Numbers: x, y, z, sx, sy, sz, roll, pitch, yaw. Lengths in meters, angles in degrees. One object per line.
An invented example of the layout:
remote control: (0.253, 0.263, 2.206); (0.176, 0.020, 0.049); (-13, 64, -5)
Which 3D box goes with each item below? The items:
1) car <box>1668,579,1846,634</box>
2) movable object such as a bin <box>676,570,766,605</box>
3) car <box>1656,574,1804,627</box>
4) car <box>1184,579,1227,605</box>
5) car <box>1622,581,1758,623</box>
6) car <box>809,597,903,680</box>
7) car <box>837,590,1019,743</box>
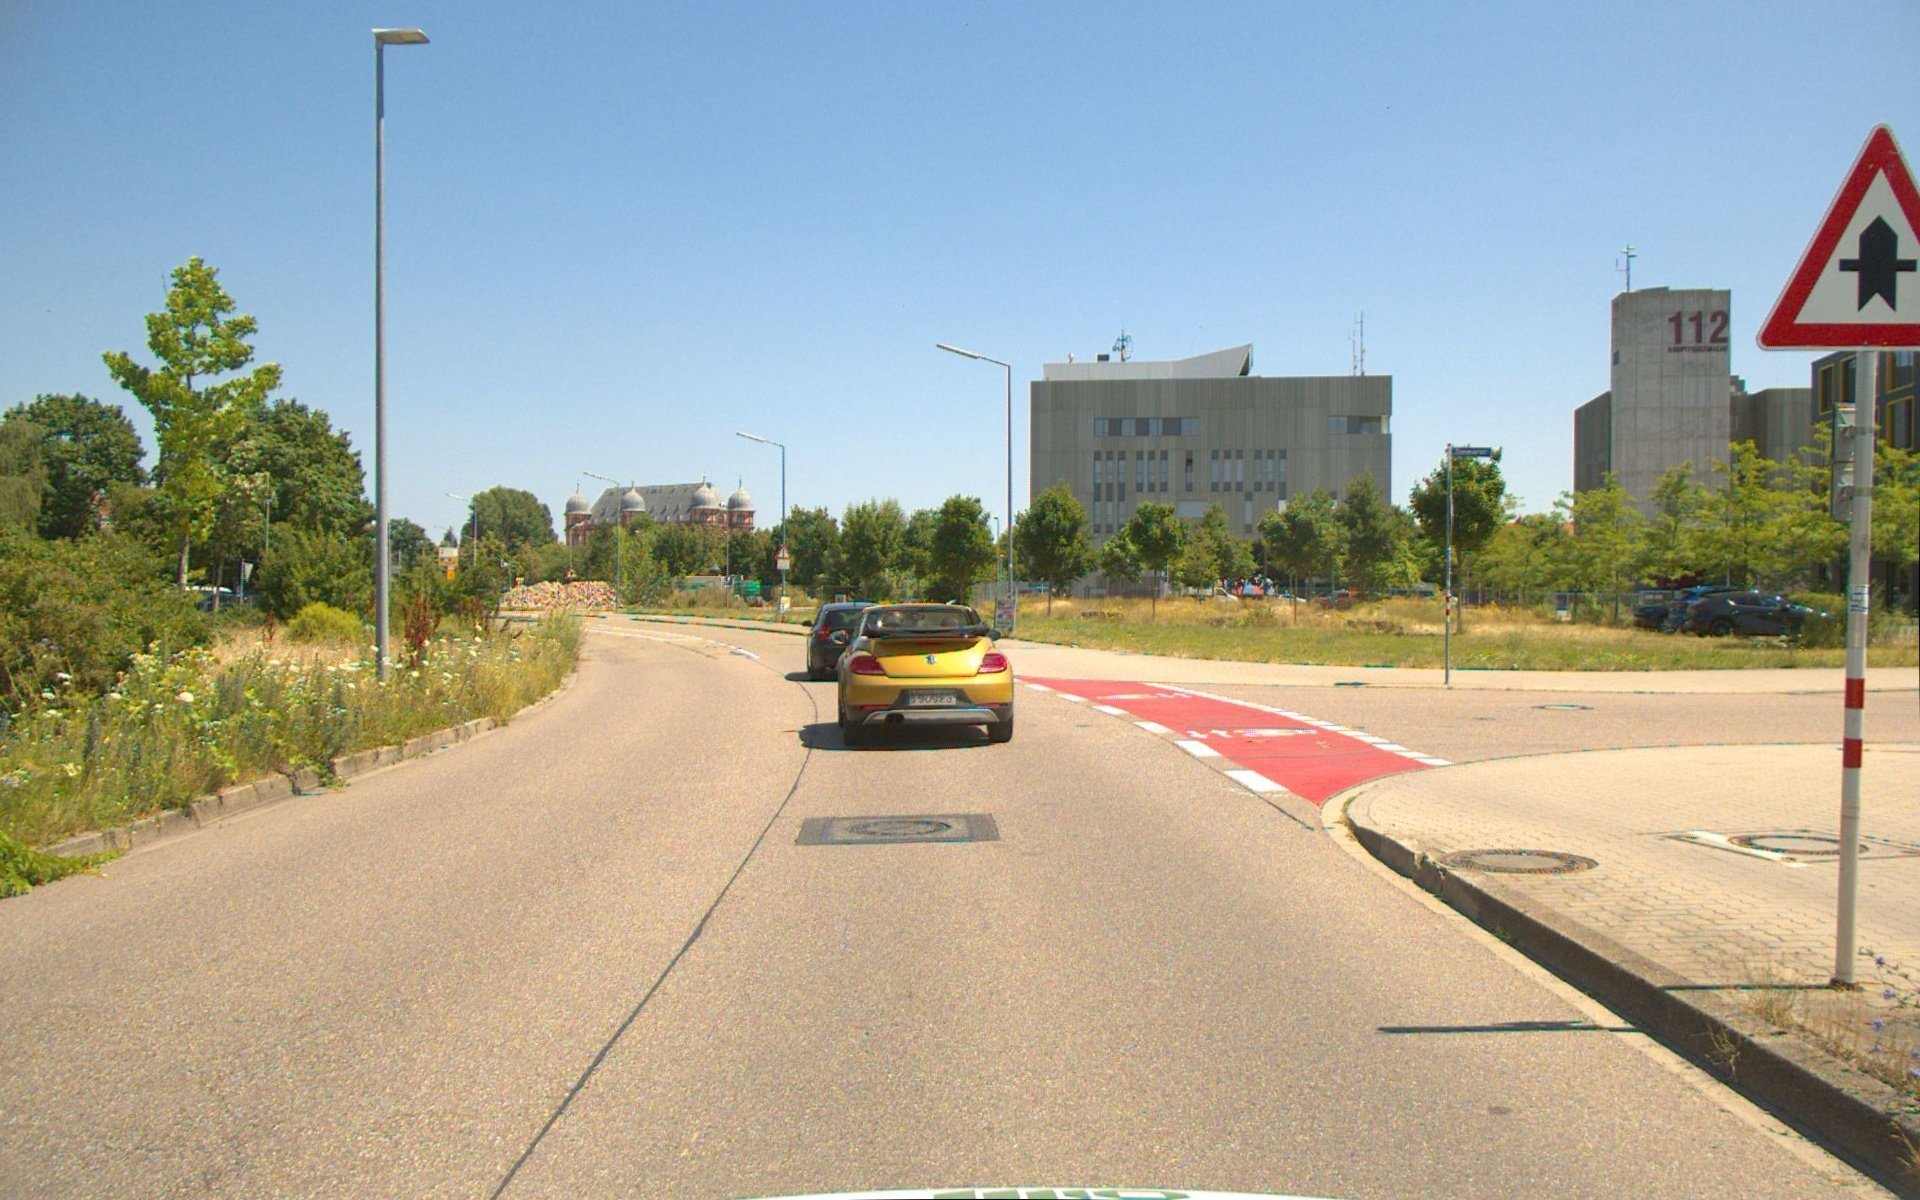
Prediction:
car: (23.741, 0.191, 49.405); (4.397, 1.589, 2.034); (0, 0, 8)
movable object such as a bin: (-23.550, -1.186, 162.413); (4.895, 3.317, 10.347); (0, 0, -33)
car: (25.038, 0.005, 53.899); (3.971, 1.680, 1.956); (0, 0, 9)
car: (21.989, -0.694, 148.015); (3.760, 2.334, 1.744); (0, 0, 10)
car: (25.911, 0.060, 58.815); (4.026, 1.470, 1.963); (0, 0, 4)
car: (-2.022, 0.690, 31.829); (1.693, 1.468, 3.997); (0, 0, -4)
car: (-0.297, 0.628, 17.887); (1.753, 1.462, 3.814); (0, 1, 0)
